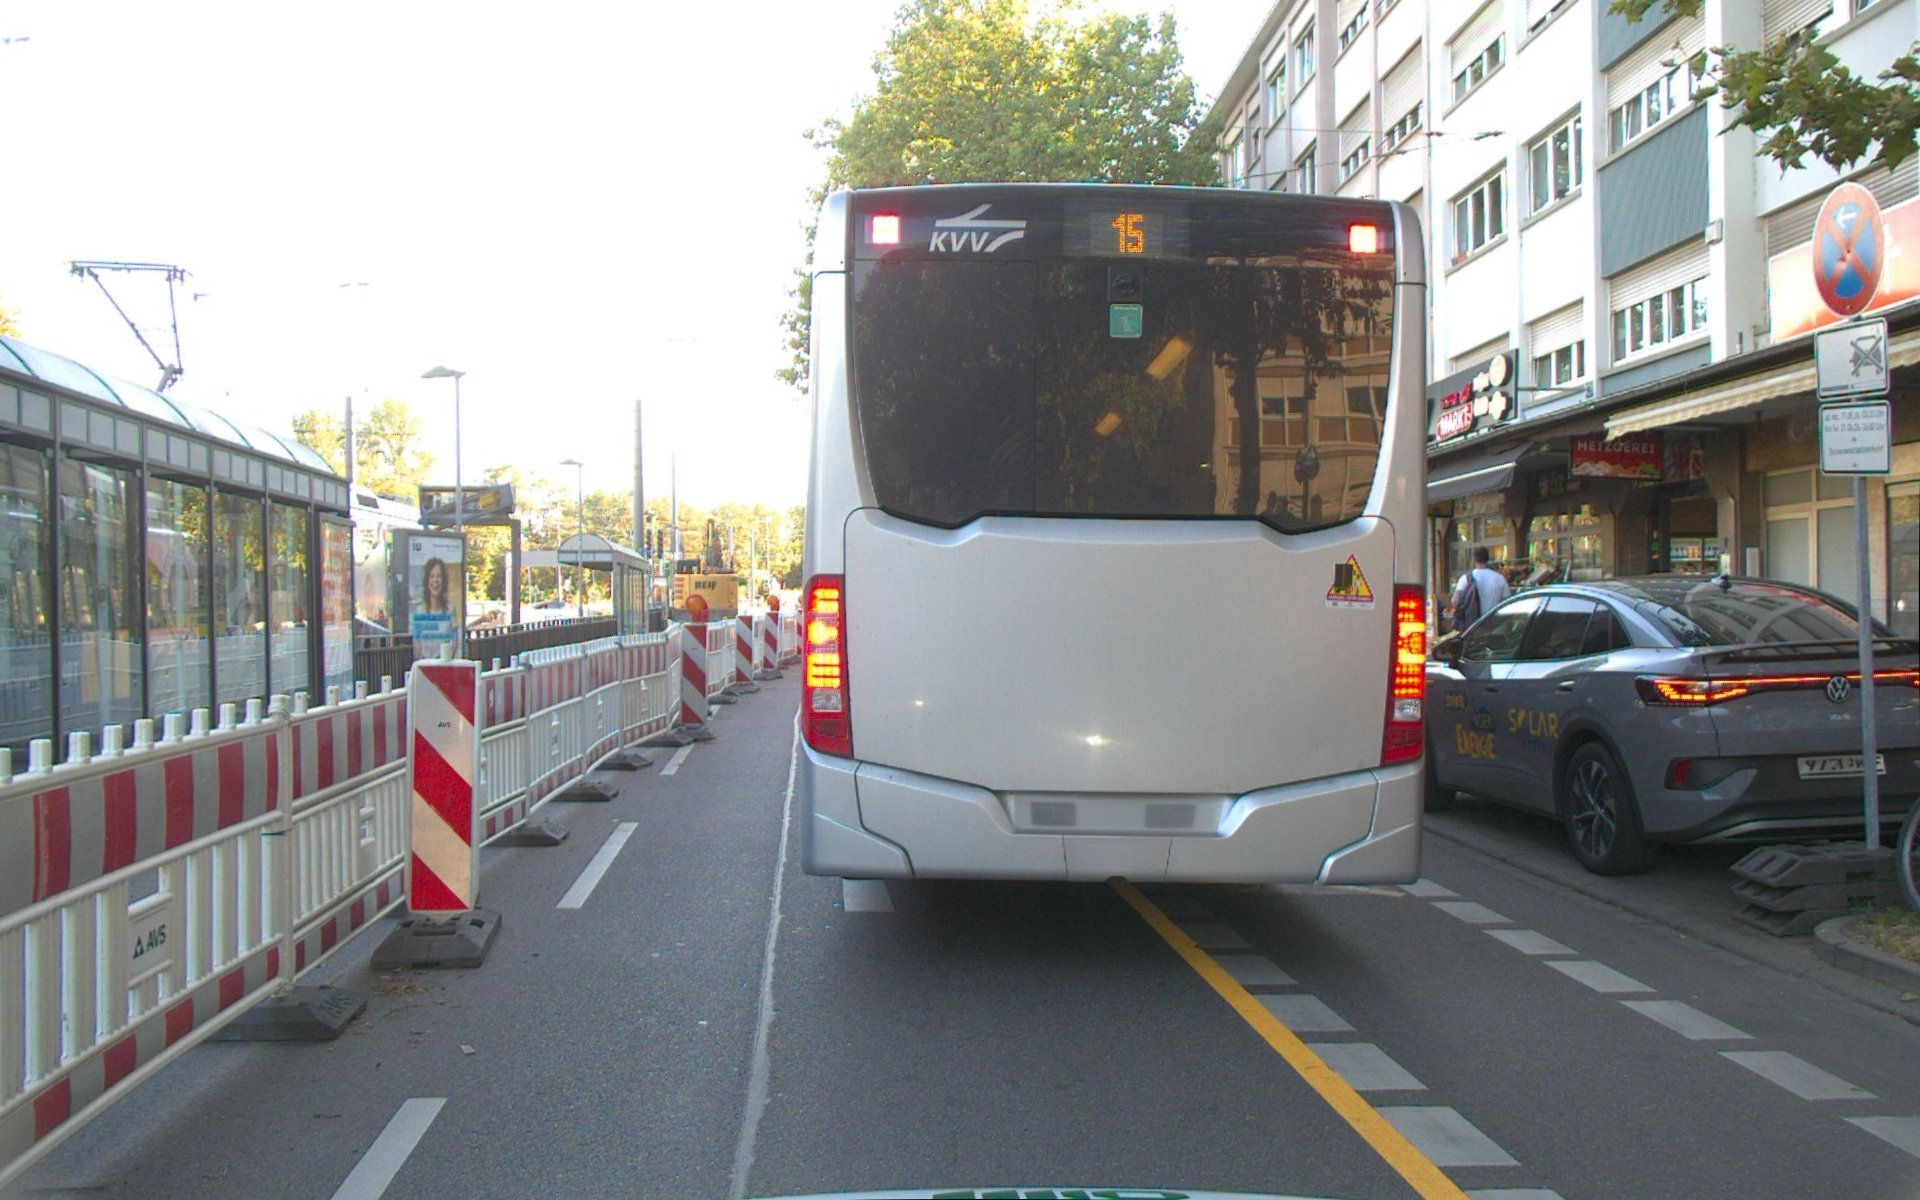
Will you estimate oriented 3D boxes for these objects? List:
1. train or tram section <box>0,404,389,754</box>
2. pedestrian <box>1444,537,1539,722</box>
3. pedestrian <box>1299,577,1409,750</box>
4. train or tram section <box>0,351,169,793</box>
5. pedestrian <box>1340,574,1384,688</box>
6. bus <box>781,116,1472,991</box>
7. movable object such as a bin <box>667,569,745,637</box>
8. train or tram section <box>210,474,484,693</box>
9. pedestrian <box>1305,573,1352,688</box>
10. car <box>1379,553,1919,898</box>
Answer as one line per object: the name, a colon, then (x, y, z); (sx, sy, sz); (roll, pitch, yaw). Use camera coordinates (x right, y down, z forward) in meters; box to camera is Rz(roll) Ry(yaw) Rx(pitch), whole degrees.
train or tram section: (-10.143, -0.202, 21.920); (2.782, 3.548, 10.321); (0, 0, -7)
pedestrian: (6.083, 0.330, 18.945); (0.754, 2.049, 0.713); (-2, 0, -5)
pedestrian: (3.804, 0.589, 15.947); (0.737, 1.608, 0.873); (-1, -1, 37)
train or tram section: (-8.937, -0.221, 11.687); (2.816, 3.548, 10.323); (0, 0, -7)
pedestrian: (7.359, 0.561, 30.287); (0.600, 2.049, 0.696); (-1, 0, -1)
bus: (0.579, -0.186, 11.260); (2.555, 3.225, 10.290); (0, 0, -1)
movable object such as a bin: (-9.703, 0.095, 63.522); (2.752, 2.505, 3.995); (0, 0, -6)
train or tram section: (-11.482, -0.258, 32.163); (2.763, 3.548, 10.320); (0, 0, -8)
pedestrian: (6.686, 0.547, 30.041); (0.677, 2.049, 0.696); (-1, 0, -1)
car: (4.219, 0.606, 10.319); (1.706, 1.625, 4.294); (-3, 0, -5)
